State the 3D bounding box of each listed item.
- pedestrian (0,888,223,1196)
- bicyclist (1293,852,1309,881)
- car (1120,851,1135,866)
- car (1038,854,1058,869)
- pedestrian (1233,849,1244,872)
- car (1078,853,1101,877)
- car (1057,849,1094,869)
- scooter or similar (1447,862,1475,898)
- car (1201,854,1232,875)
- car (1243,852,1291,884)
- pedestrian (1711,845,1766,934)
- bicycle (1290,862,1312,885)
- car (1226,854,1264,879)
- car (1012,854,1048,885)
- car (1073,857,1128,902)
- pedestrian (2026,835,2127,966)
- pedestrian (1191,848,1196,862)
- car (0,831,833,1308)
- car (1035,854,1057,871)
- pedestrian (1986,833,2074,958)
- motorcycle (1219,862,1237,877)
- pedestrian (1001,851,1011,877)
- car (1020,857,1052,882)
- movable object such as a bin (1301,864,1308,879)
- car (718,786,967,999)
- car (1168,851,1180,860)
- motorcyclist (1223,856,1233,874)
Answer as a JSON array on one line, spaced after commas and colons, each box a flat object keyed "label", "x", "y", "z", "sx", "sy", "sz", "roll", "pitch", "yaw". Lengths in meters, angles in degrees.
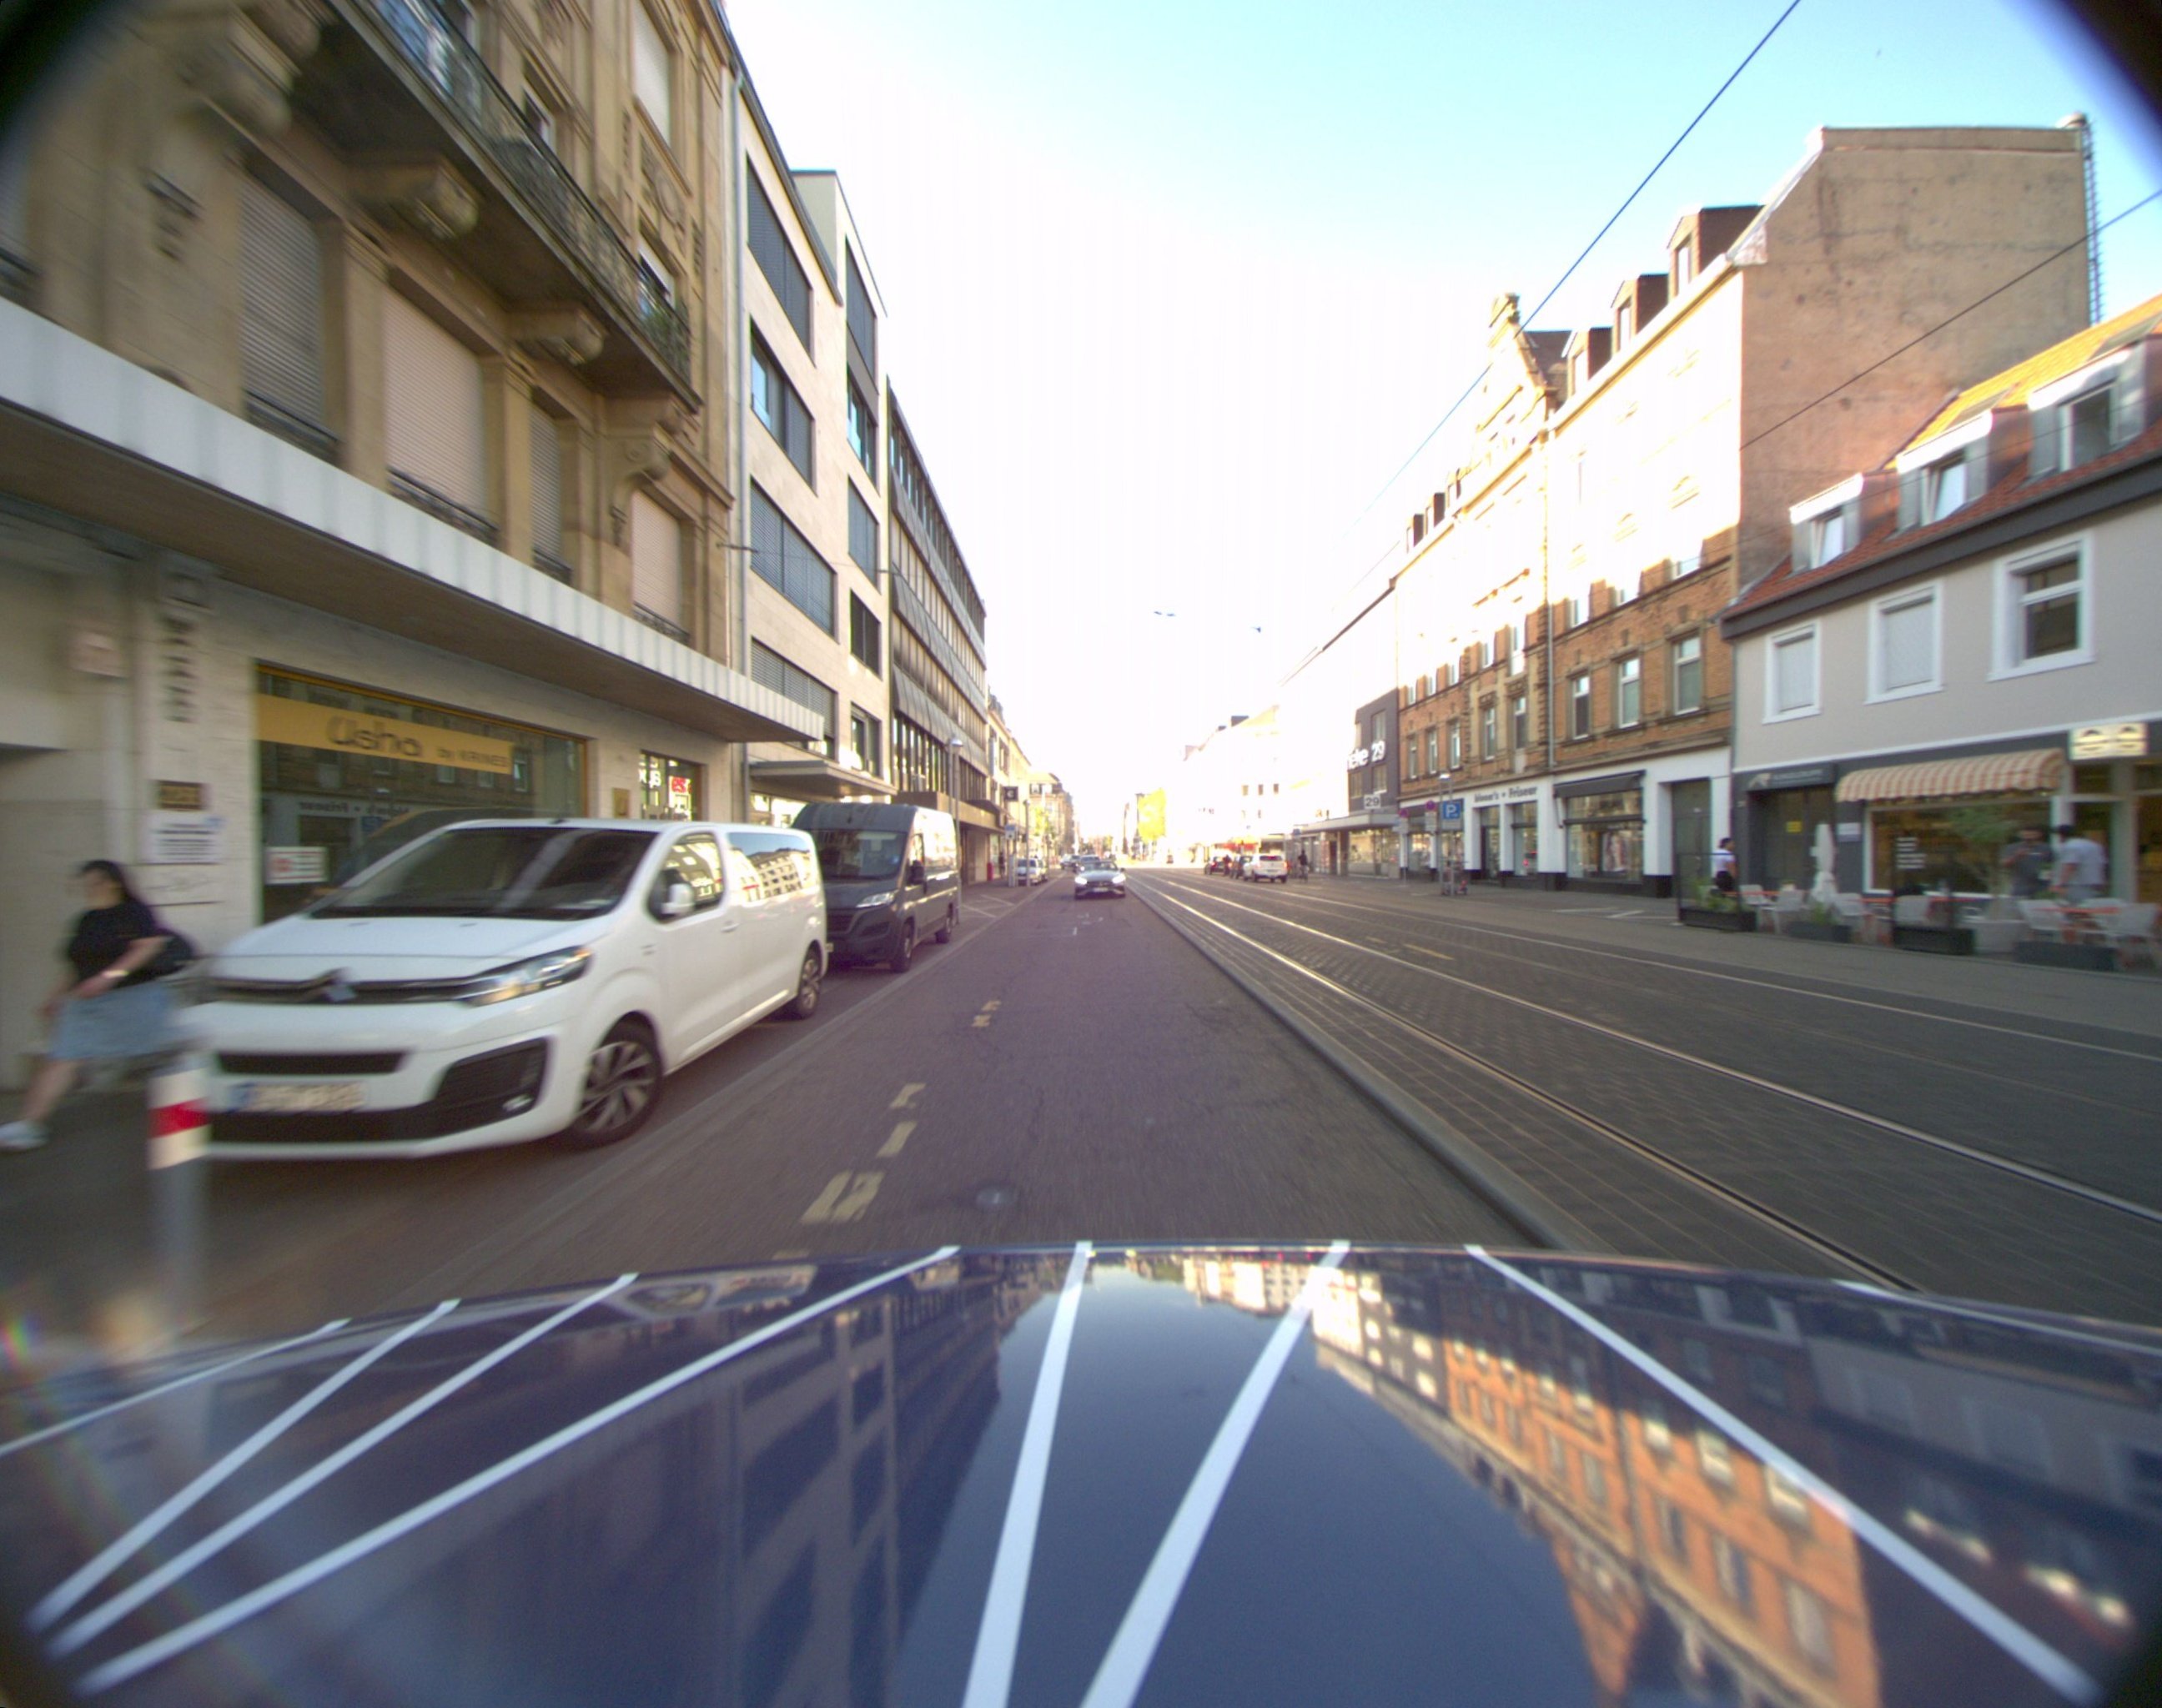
[{"label": "pedestrian", "x": -5.569, "y": 0.961, "z": 4.197, "sx": 0.697, "sy": 1.499, "sz": 0.814, "roll": 0, "pitch": 1, "yaw": 1}, {"label": "bicyclist", "x": 12.043, "y": 0.698, "z": 41.541, "sx": 0.576, "sy": 1.538, "sz": 0.861, "roll": -3, "pitch": 1, "yaw": 1}, {"label": "car", "x": 6.567, "y": 0.661, "z": 107.992, "sx": 1.998, "sy": 2.002, "sz": 4.000, "roll": -3, "pitch": 1, "yaw": 2}, {"label": "car", "x": -3.014, "y": 0.685, "z": 70.184, "sx": 1.630, "sy": 1.342, "sz": 3.464, "roll": 1, "pitch": 1, "yaw": 1}, {"label": "pedestrian", "x": 12.736, "y": 0.486, "z": 61.559, "sx": 0.705, "sy": 1.830, "sz": 0.636, "roll": -3, "pitch": 1, "yaw": 1}, {"label": "car", "x": 0.620, "y": 0.786, "z": 55.318, "sx": 1.630, "sy": 1.593, "sz": 3.330, "roll": 1, "pitch": 1, "yaw": 1}, {"label": "car", "x": -0.591, "y": 0.531, "z": 82.667, "sx": 2.003, "sy": 2.002, "sz": 3.990, "roll": -3, "pitch": 1, "yaw": -35}, {"label": "scooter or similar", "x": 13.844, "y": 0.939, "z": 27.725, "sx": 0.404, "sy": 1.216, "sz": 1.202, "roll": -3, "pitch": 1, "yaw": 1}, {"label": "car", "x": 10.415, "y": 0.753, "z": 58.660, "sx": 1.667, "sy": 1.521, "sz": 4.000, "roll": 0, "pitch": 1, "yaw": 1}, {"label": "car", "x": 10.277, "y": 0.737, "z": 42.121, "sx": 1.802, "sy": 1.625, "sz": 3.676, "roll": 0, "pitch": 1, "yaw": 1}, {"label": "pedestrian", "x": 13.611, "y": 0.718, "z": 15.735, "sx": 0.581, "sy": 1.795, "sz": 0.659, "roll": -3, "pitch": 1, "yaw": 12}, {"label": "bicycle", "x": 12.063, "y": 1.041, "z": 41.688, "sx": 0.610, "sy": 1.142, "sz": 2.100, "roll": -3, "pitch": 1, "yaw": 1}, {"label": "car", "x": 10.582, "y": 0.788, "z": 49.287, "sx": 1.667, "sy": 1.521, "sz": 4.000, "roll": 0, "pitch": 1, "yaw": 1}, {"label": "car", "x": -2.694, "y": 0.814, "z": 40.906, "sx": 1.630, "sy": 1.543, "sz": 3.508, "roll": 1, "pitch": 1, "yaw": 1}, {"label": "car", "x": 0.676, "y": 0.881, "z": 28.379, "sx": 1.858, "sy": 1.463, "sz": 4.786, "roll": 0, "pitch": 1, "yaw": 0}, {"label": "pedestrian", "x": 13.995, "y": 0.632, "z": 10.693, "sx": 0.658, "sy": 1.752, "sz": 0.581, "roll": -3, "pitch": 1, "yaw": -7}, {"label": "pedestrian", "x": 16.929, "y": 0.147, "z": 114.502, "sx": 0.669, "sy": 1.939, "sz": 0.620, "roll": -3, "pitch": 1, "yaw": 1}, {"label": "car", "x": -3.547, "y": 0.836, "z": 5.478, "sx": 2.051, "sy": 1.899, "sz": 4.877, "roll": 0, "pitch": 1, "yaw": -2}, {"label": "car", "x": -2.978, "y": 0.750, "z": 65.587, "sx": 1.630, "sy": 1.342, "sz": 3.330, "roll": 1, "pitch": 1, "yaw": 1}, {"label": "pedestrian", "x": 14.463, "y": 0.610, "z": 11.598, "sx": 0.657, "sy": 1.839, "sz": 0.583, "roll": -2, "pitch": 1, "yaw": 31}, {"label": "motorcycle", "x": 10.367, "y": 1.084, "z": 53.615, "sx": 0.907, "sy": 0.987, "sz": 1.935, "roll": 0, "pitch": 1, "yaw": 1}, {"label": "pedestrian", "x": -5.011, "y": 0.677, "z": 50.681, "sx": 0.513, "sy": 1.665, "sz": 0.744, "roll": -3, "pitch": 1, "yaw": 1}, {"label": "car", "x": -2.707, "y": 0.904, "z": 46.090, "sx": 1.630, "sy": 1.342, "sz": 3.330, "roll": 1, "pitch": 1, "yaw": 1}, {"label": "movable object such as a bin", "x": 14.385, "y": 1.129, "z": 48.939, "sx": 0.325, "sy": 0.942, "sz": 0.467, "roll": -1, "pitch": 1, "yaw": 1}, {"label": "car", "x": -3.311, "y": 0.521, "z": 12.028, "sx": 2.051, "sy": 2.486, "sz": 5.687, "roll": -3, "pitch": -1, "yaw": 0}, {"label": "car", "x": 15.267, "y": 0.247, "z": 124.957, "sx": 1.630, "sy": 1.524, "sz": 3.464, "roll": 1, "pitch": 1, "yaw": 1}, {"label": "motorcyclist", "x": 10.359, "y": 0.763, "z": 53.637, "sx": 0.540, "sy": 1.296, "sz": 0.655, "roll": 1, "pitch": 1, "yaw": 1}]
